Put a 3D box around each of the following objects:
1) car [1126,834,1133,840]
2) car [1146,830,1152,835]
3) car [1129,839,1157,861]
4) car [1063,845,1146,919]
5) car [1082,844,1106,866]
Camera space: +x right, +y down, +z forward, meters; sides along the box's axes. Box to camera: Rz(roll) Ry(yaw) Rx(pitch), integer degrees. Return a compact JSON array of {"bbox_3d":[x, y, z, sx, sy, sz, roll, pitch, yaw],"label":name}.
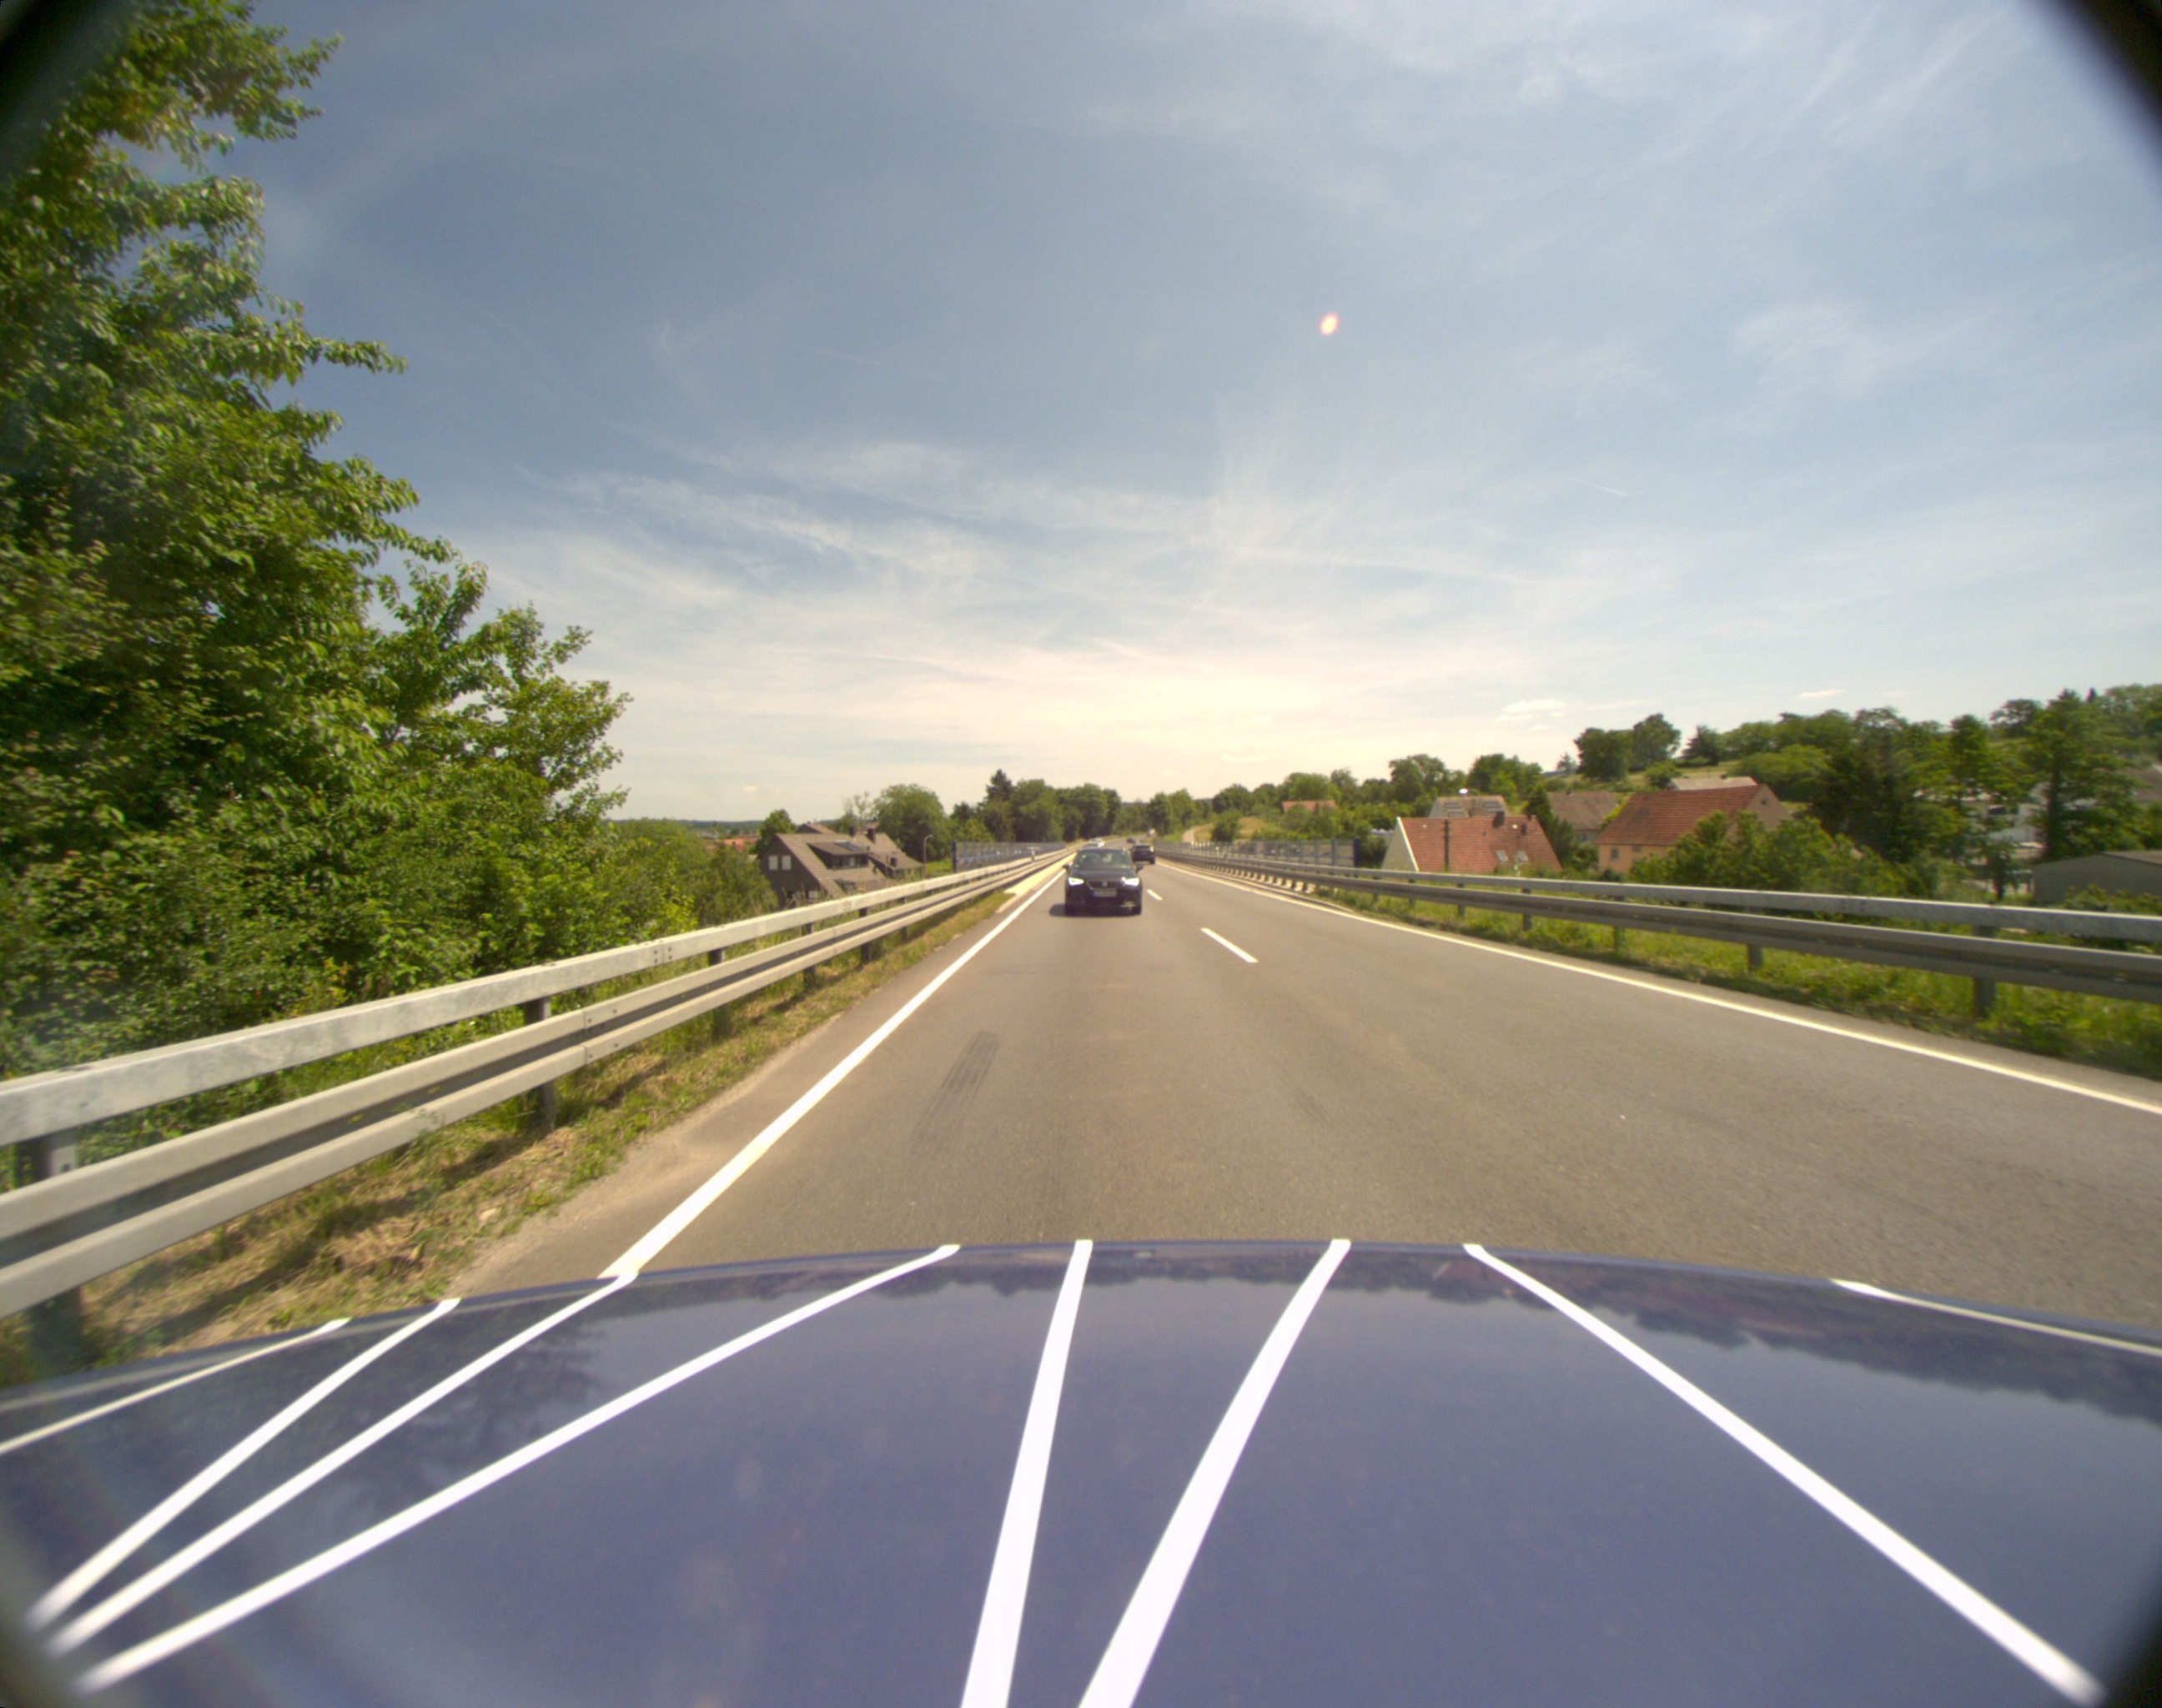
[{"bbox_3d":[11.617,-4.157,182.547,1.785,1.428,4.834,1,2,4],"label":"car"},{"bbox_3d":[21.518,-6.934,240.476,1.711,1.497,4.117,1,2,2],"label":"car"},{"bbox_3d":[4.838,-0.329,59.749,1.870,1.602,4.371,-1,1,0],"label":"car"},{"bbox_3d":[0.529,0.576,18.241,1.737,1.468,3.998,1,2,1],"label":"car"},{"bbox_3d":[1.078,0.134,61.971,1.879,1.637,4.002,1,-2,2],"label":"car"}]
